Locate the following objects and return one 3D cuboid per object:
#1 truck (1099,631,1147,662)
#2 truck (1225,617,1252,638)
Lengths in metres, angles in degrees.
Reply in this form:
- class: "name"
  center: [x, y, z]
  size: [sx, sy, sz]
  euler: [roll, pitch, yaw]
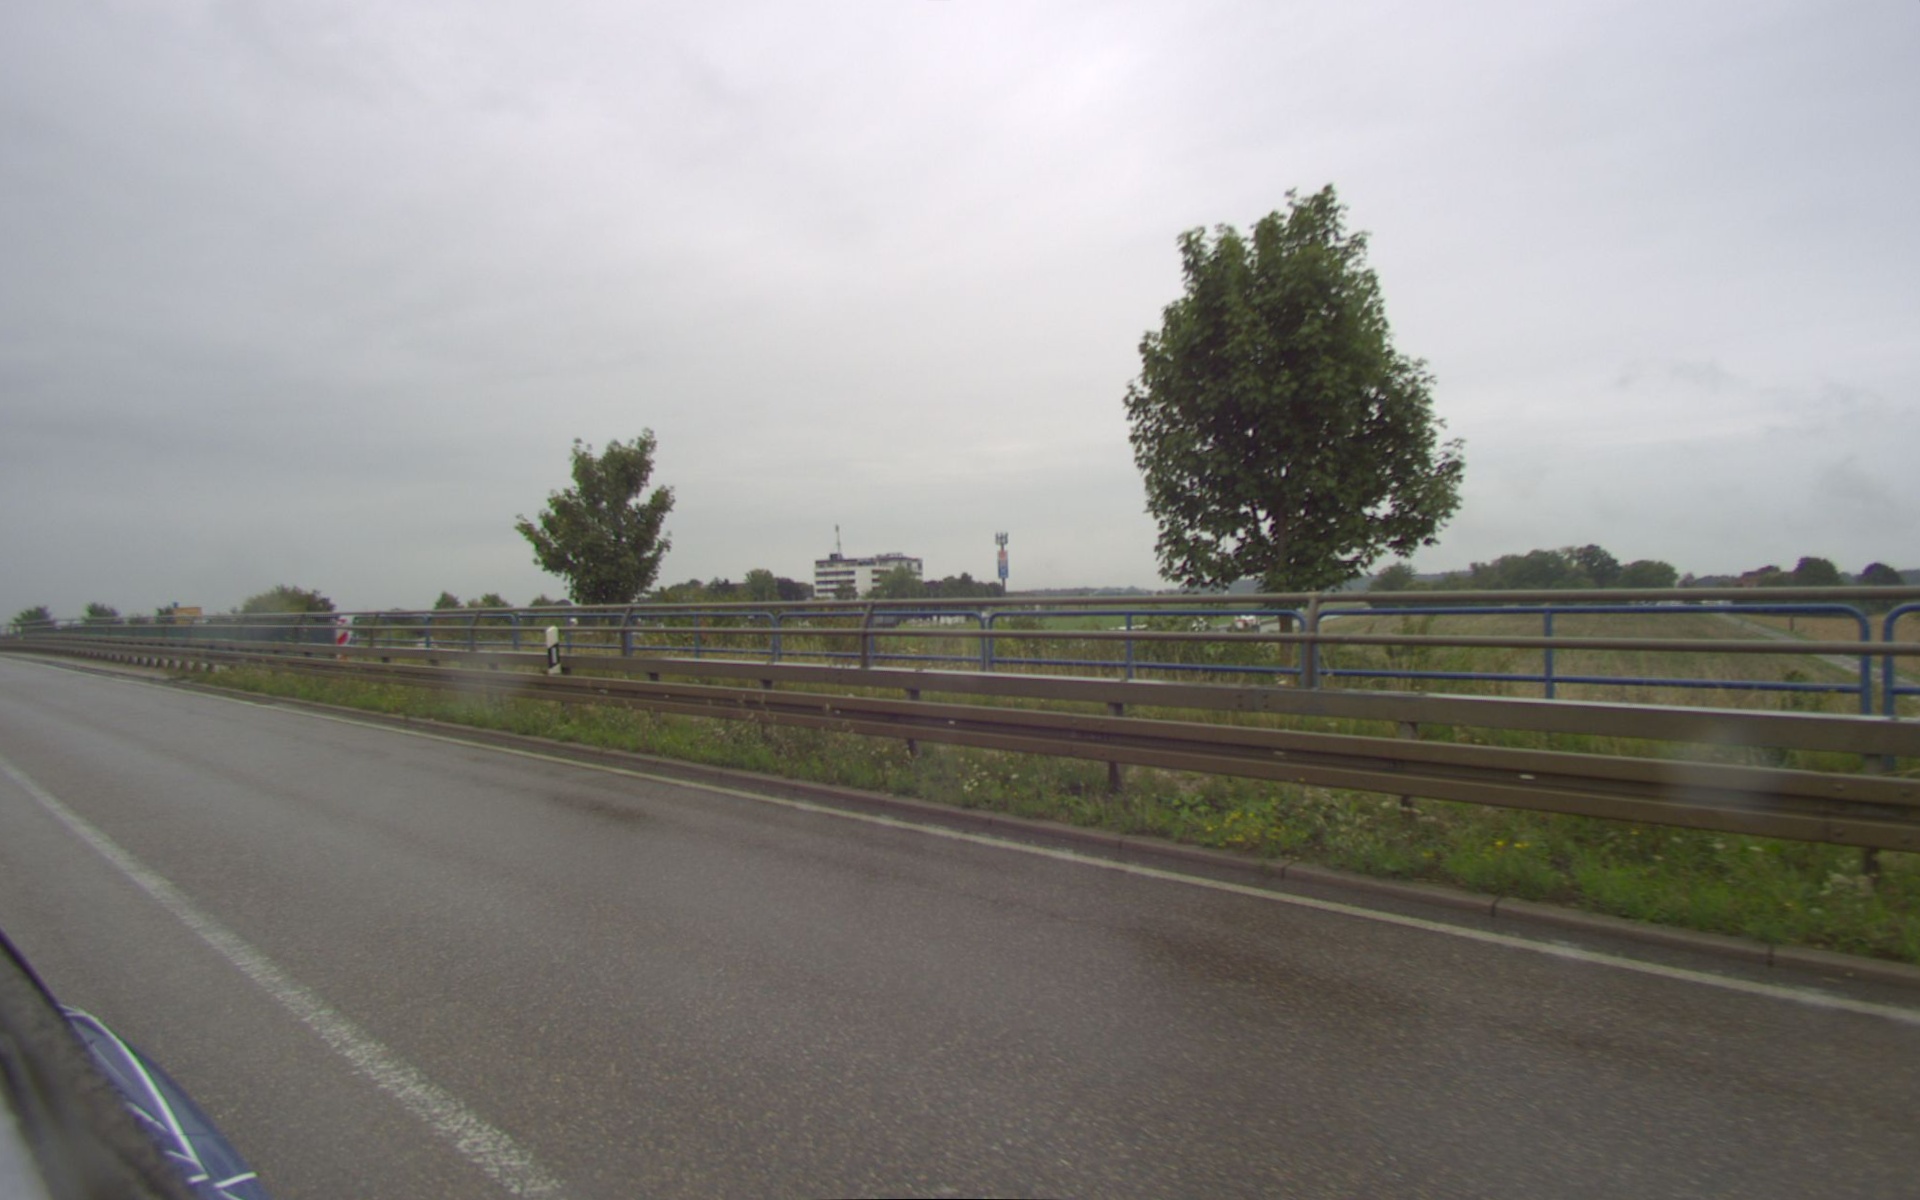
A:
- class: "truck"
  center: [23.632, 6.619, 146.357]
  size: [3.337, 3.975, 11.418]
  euler: [-1, 0, 28]
- class: "truck"
  center: [57.390, 5.644, 208.320]
  size: [3.335, 3.975, 11.425]
  euler: [-1, 0, 26]
